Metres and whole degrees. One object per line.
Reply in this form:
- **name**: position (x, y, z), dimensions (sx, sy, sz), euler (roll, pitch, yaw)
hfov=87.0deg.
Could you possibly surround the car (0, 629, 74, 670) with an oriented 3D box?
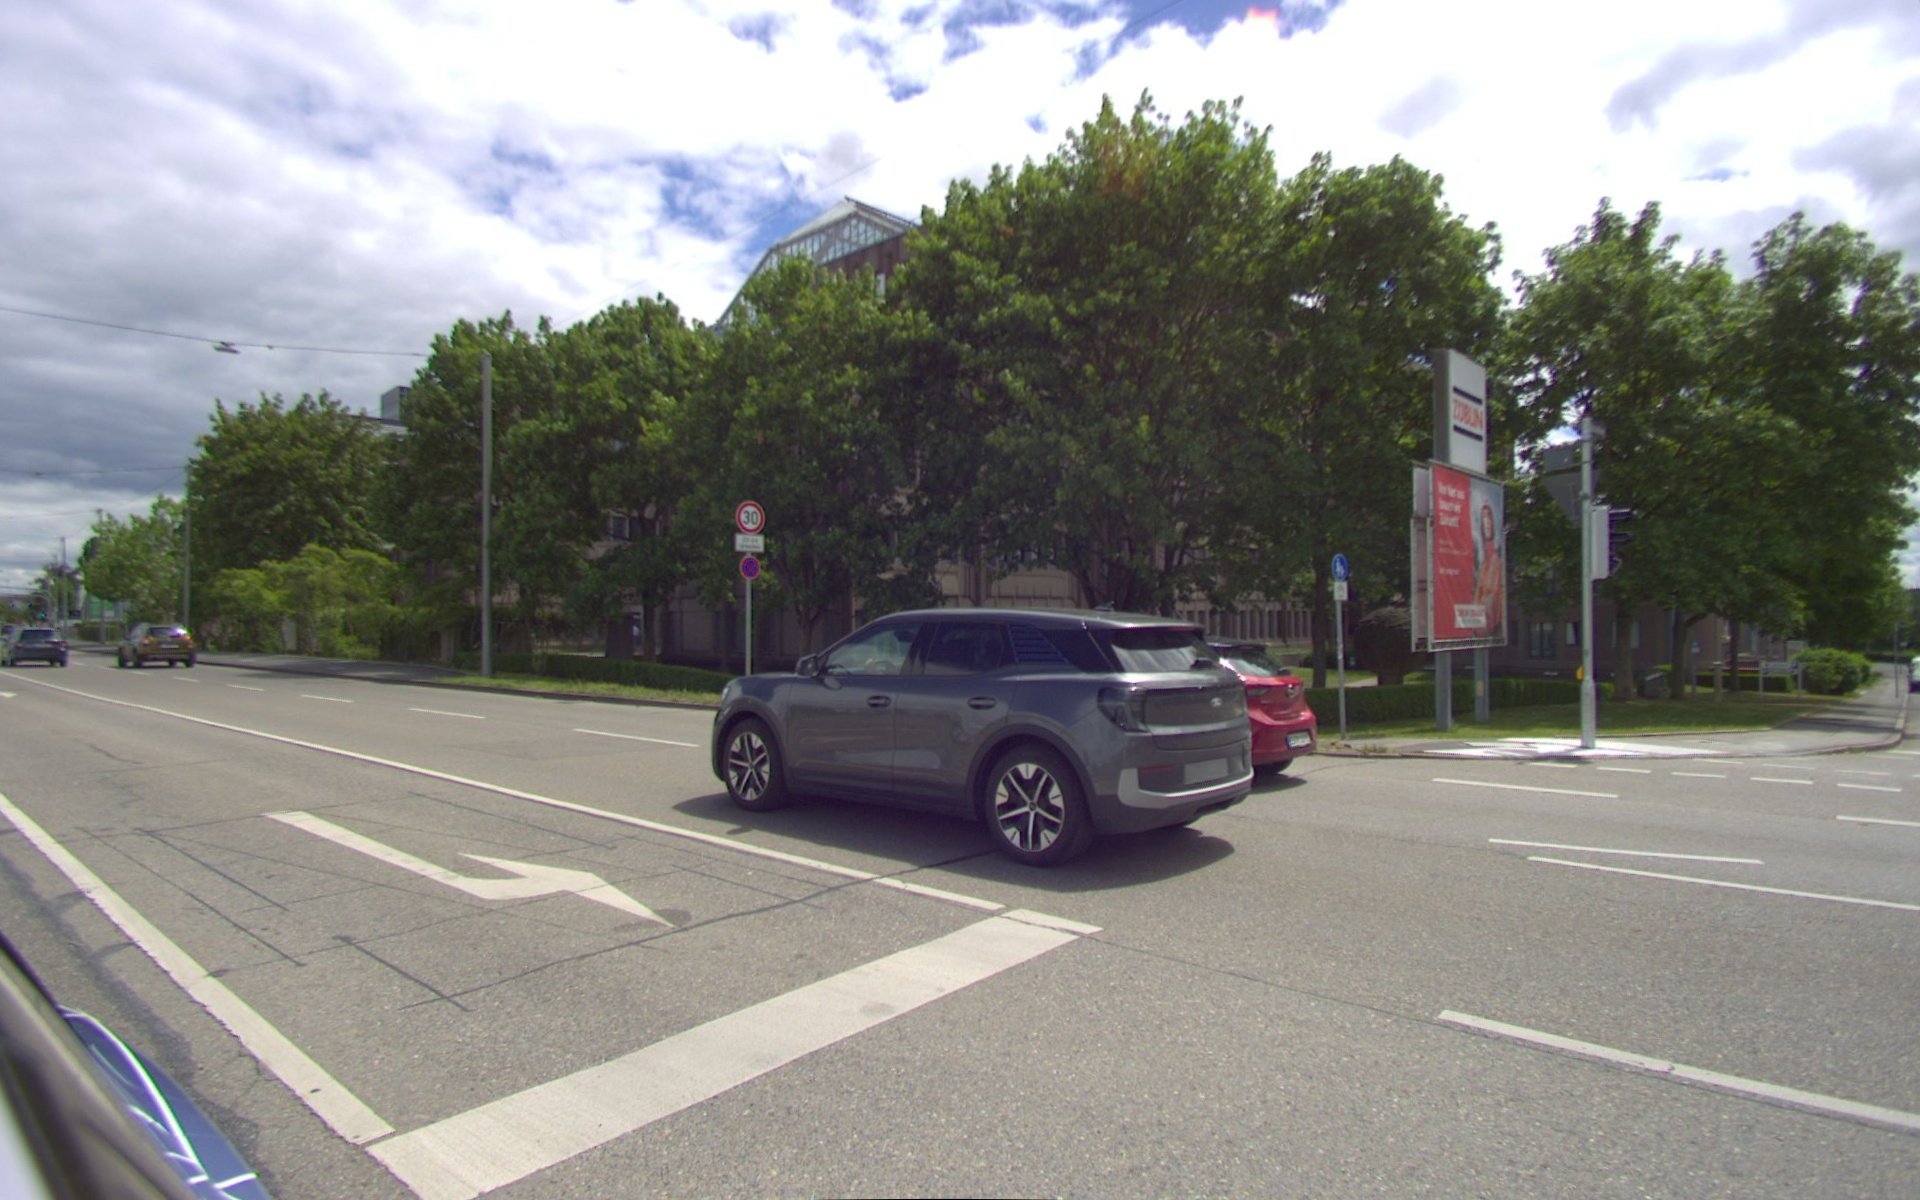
- **car**: position (-34.747, 1.818, 37.901), dimensions (3.998, 1.465, 1.777), euler (-2, -3, 41)

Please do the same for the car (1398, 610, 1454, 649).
- **car**: position (28.181, 1.760, 61.151), dimensions (1.999, 2.259, 3.945), euler (-1, -1, 41)

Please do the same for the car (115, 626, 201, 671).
- **car**: position (-30.386, 1.776, 38.317), dimensions (3.998, 1.609, 1.873), euler (-1, -2, 41)

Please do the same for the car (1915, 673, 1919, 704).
- **car**: position (55.069, 4.971, 56.768), dimensions (1.999, 1.519, 3.944), euler (-2, -1, 42)

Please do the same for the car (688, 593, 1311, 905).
- **car**: position (0.084, 0.828, 7.458), dimensions (4.303, 1.630, 1.973), euler (-2, -2, 41)
